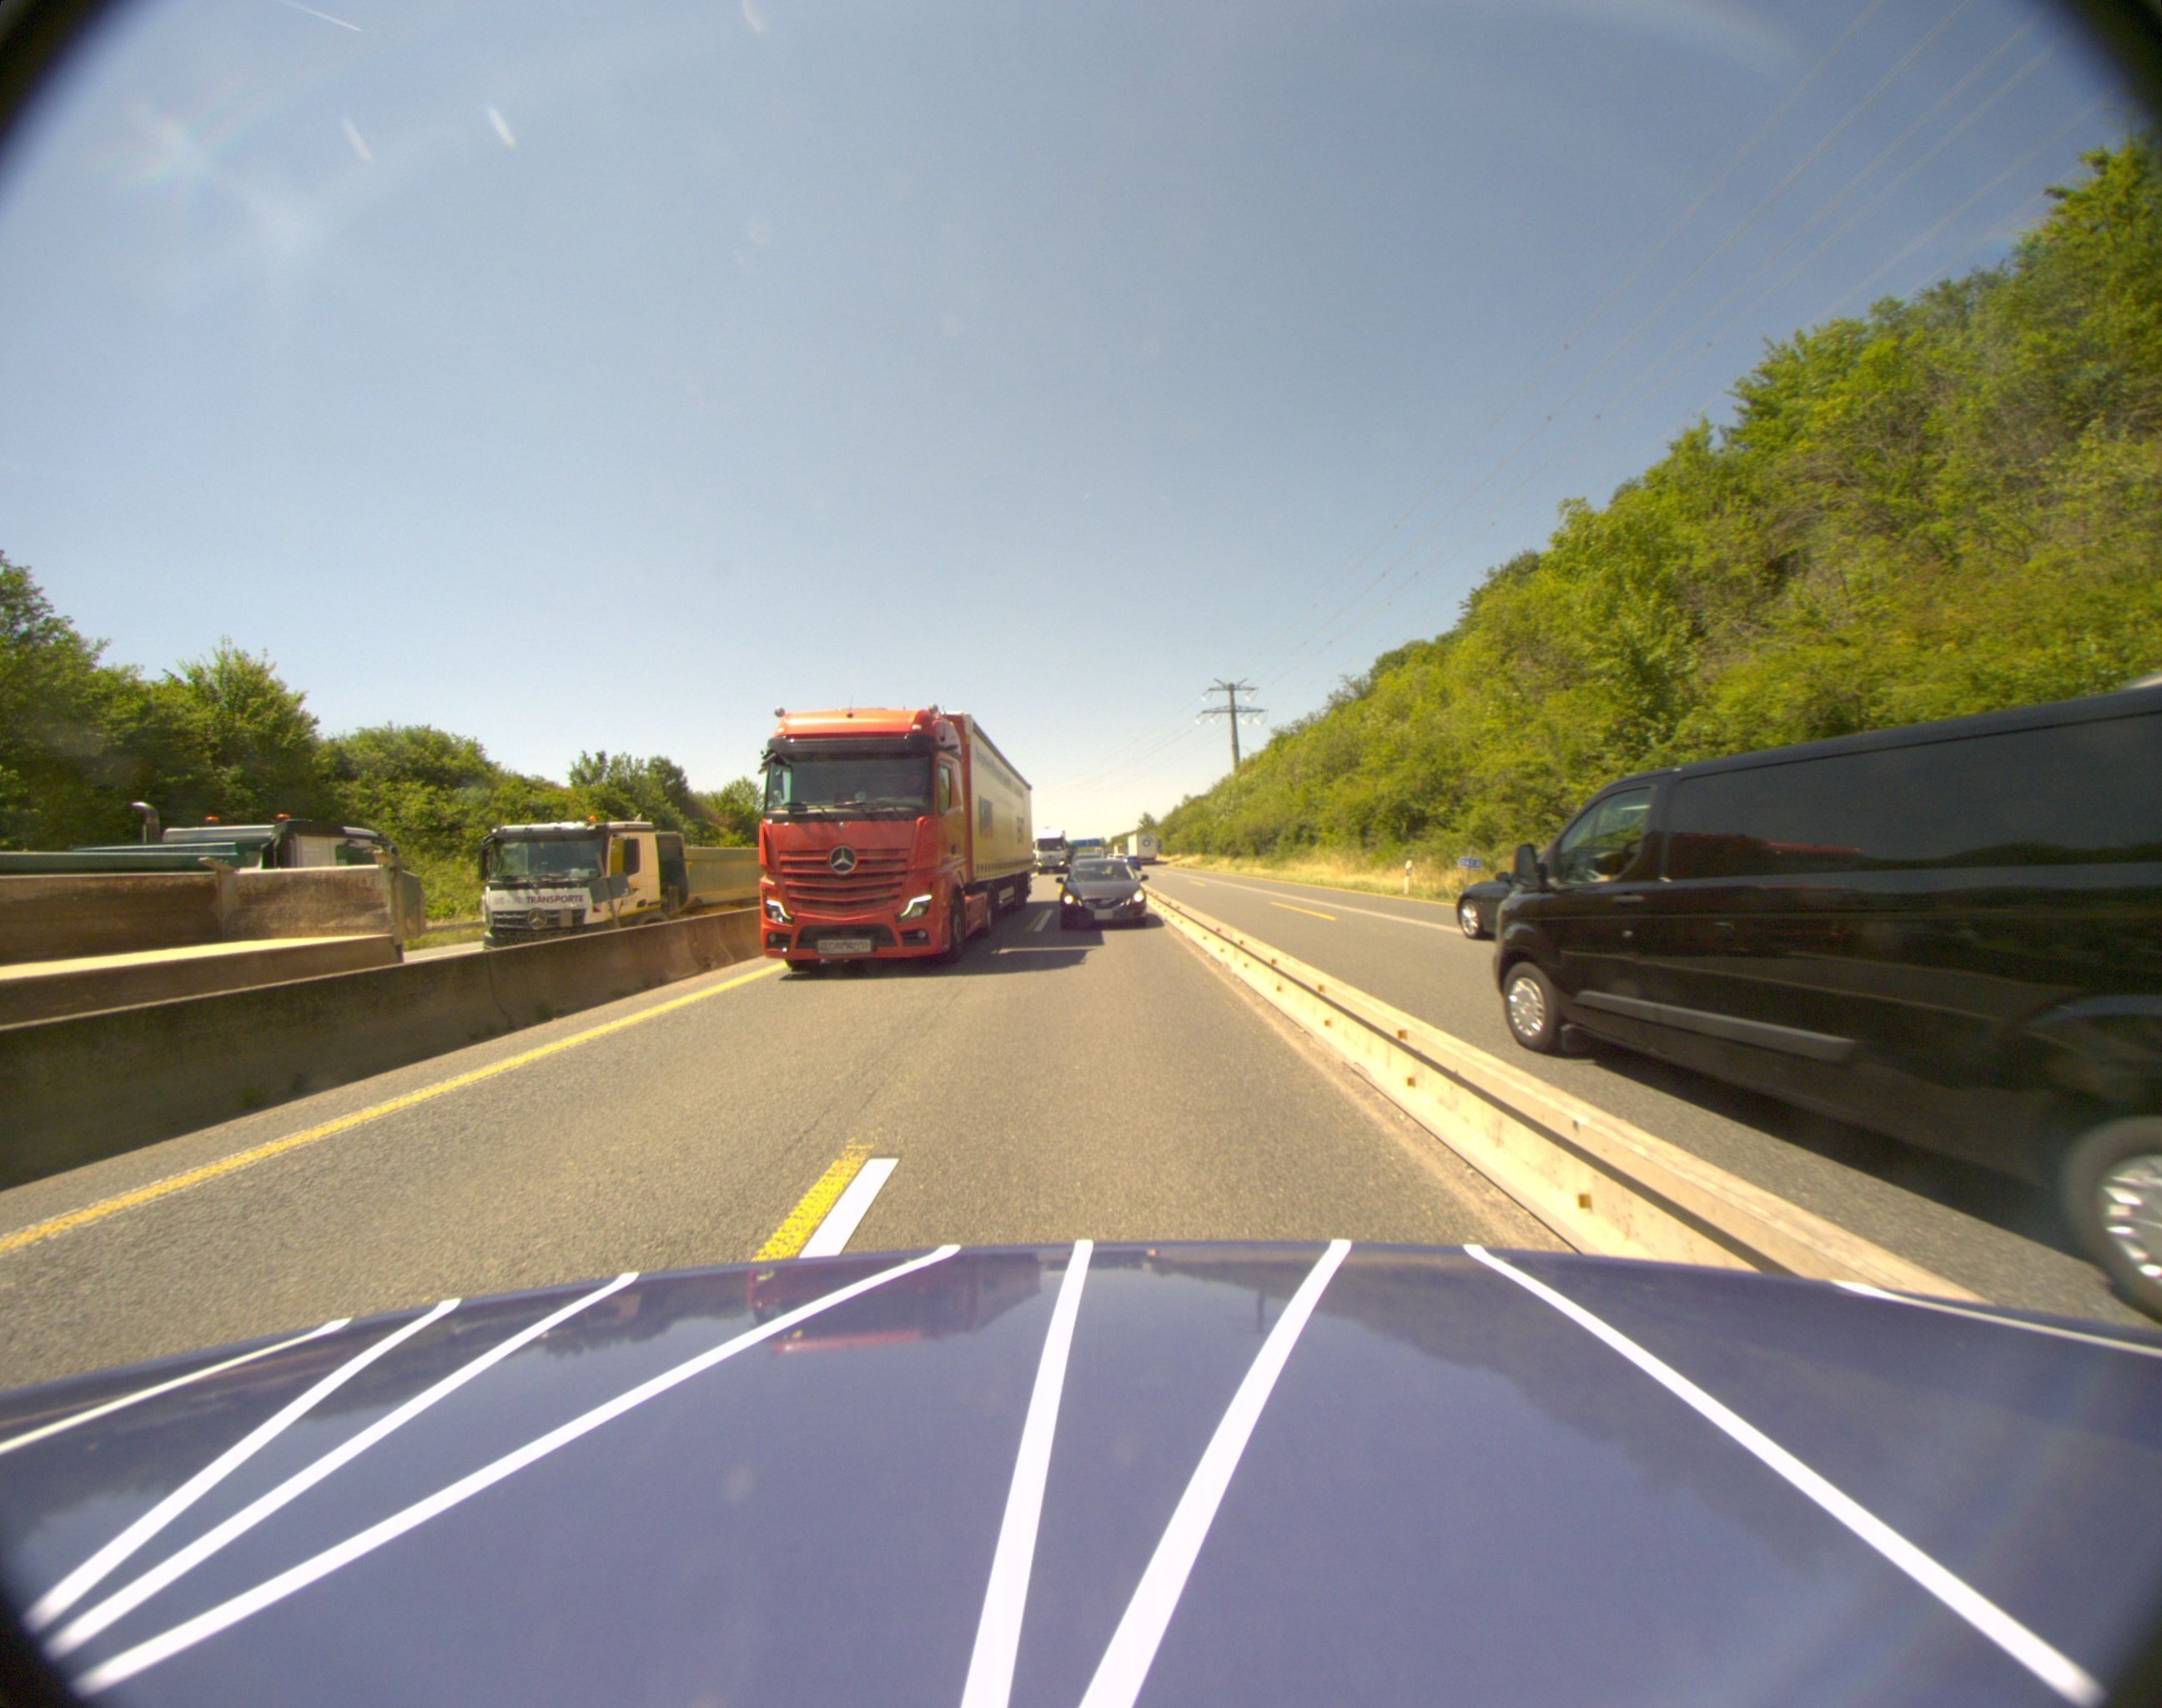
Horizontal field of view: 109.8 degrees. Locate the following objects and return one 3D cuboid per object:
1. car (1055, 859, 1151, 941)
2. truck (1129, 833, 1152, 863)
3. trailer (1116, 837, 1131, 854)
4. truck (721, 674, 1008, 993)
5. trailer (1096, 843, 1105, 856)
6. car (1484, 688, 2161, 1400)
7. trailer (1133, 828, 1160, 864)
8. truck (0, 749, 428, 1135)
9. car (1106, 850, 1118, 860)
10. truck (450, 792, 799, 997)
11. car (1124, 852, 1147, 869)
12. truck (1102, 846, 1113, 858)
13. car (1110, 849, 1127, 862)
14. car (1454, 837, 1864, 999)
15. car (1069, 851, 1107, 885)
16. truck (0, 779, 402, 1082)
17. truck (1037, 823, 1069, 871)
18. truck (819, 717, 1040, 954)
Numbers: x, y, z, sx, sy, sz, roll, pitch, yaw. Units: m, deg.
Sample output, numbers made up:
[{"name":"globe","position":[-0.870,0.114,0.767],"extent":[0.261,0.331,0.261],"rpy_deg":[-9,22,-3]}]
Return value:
[{"name":"car","position":[0.456,0.885,16.756],"extent":[1.767,1.411,4.698],"rpy_deg":[-2,1,1]},{"name":"truck","position":[8.428,-0.876,108.544],"extent":[2.416,3.969,10.351],"rpy_deg":[-3,0,0]},{"name":"trailer","position":[9.073,-1.771,161.380],"extent":[2.657,3.317,8.918],"rpy_deg":[-4,0,1]},{"name":"truck","position":[-3.108,-0.293,13.124],"extent":[2.689,3.987,6.725],"rpy_deg":[-2,1,2]},{"name":"trailer","position":[6.731,-1.601,266.328],"extent":[2.899,4.101,13.244],"rpy_deg":[-4,0,1]},{"name":"car","position":[3.973,0.499,3.282],"extent":[1.895,2.002,4.817],"rpy_deg":[-3,0,1]},{"name":"trailer","position":[8.444,-0.986,99.092],"extent":[2.644,4.287,8.447],"rpy_deg":[-3,0,0]},{"name":"truck","position":[-11.078,0.838,6.828],"extent":[2.539,3.490,8.943],"rpy_deg":[-2,0,0]},{"name":"car","position":[5.297,0.194,131.176],"extent":[1.829,1.621,4.150],"rpy_deg":[-2,1,-1]},{"name":"truck","position":[-9.665,0.691,17.833],"extent":[2.539,3.490,9.096],"rpy_deg":[-2,0,0]},{"name":"car","position":[4.947,0.540,69.791],"extent":[1.717,1.417,4.169],"rpy_deg":[-2,1,0]},{"name":"truck","position":[8.123,-0.730,231.668],"extent":[2.412,3.312,7.493],"rpy_deg":[-3,3,-4]},{"name":"car","position":[4.739,0.163,96.282],"extent":[1.767,1.622,4.296],"rpy_deg":[-2,1,0]},{"name":"car","position":[6.797,0.622,9.735],"extent":[1.797,1.516,4.531],"rpy_deg":[-3,0,1]},{"name":"car","position":[0.381,0.686,38.794],"extent":[1.767,1.523,4.698],"rpy_deg":[-2,1,1]},{"name":"truck","position":[-13.787,0.922,9.626],"extent":[2.694,3.490,8.379],"rpy_deg":[-2,0,0]},{"name":"truck","position":[-2.494,-0.643,72.260],"extent":[2.481,4.030,13.109],"rpy_deg":[-2,0,0]},{"name":"truck","position":[-2.968,-0.385,19.745],"extent":[2.689,3.987,13.218],"rpy_deg":[-2,1,1]}]
